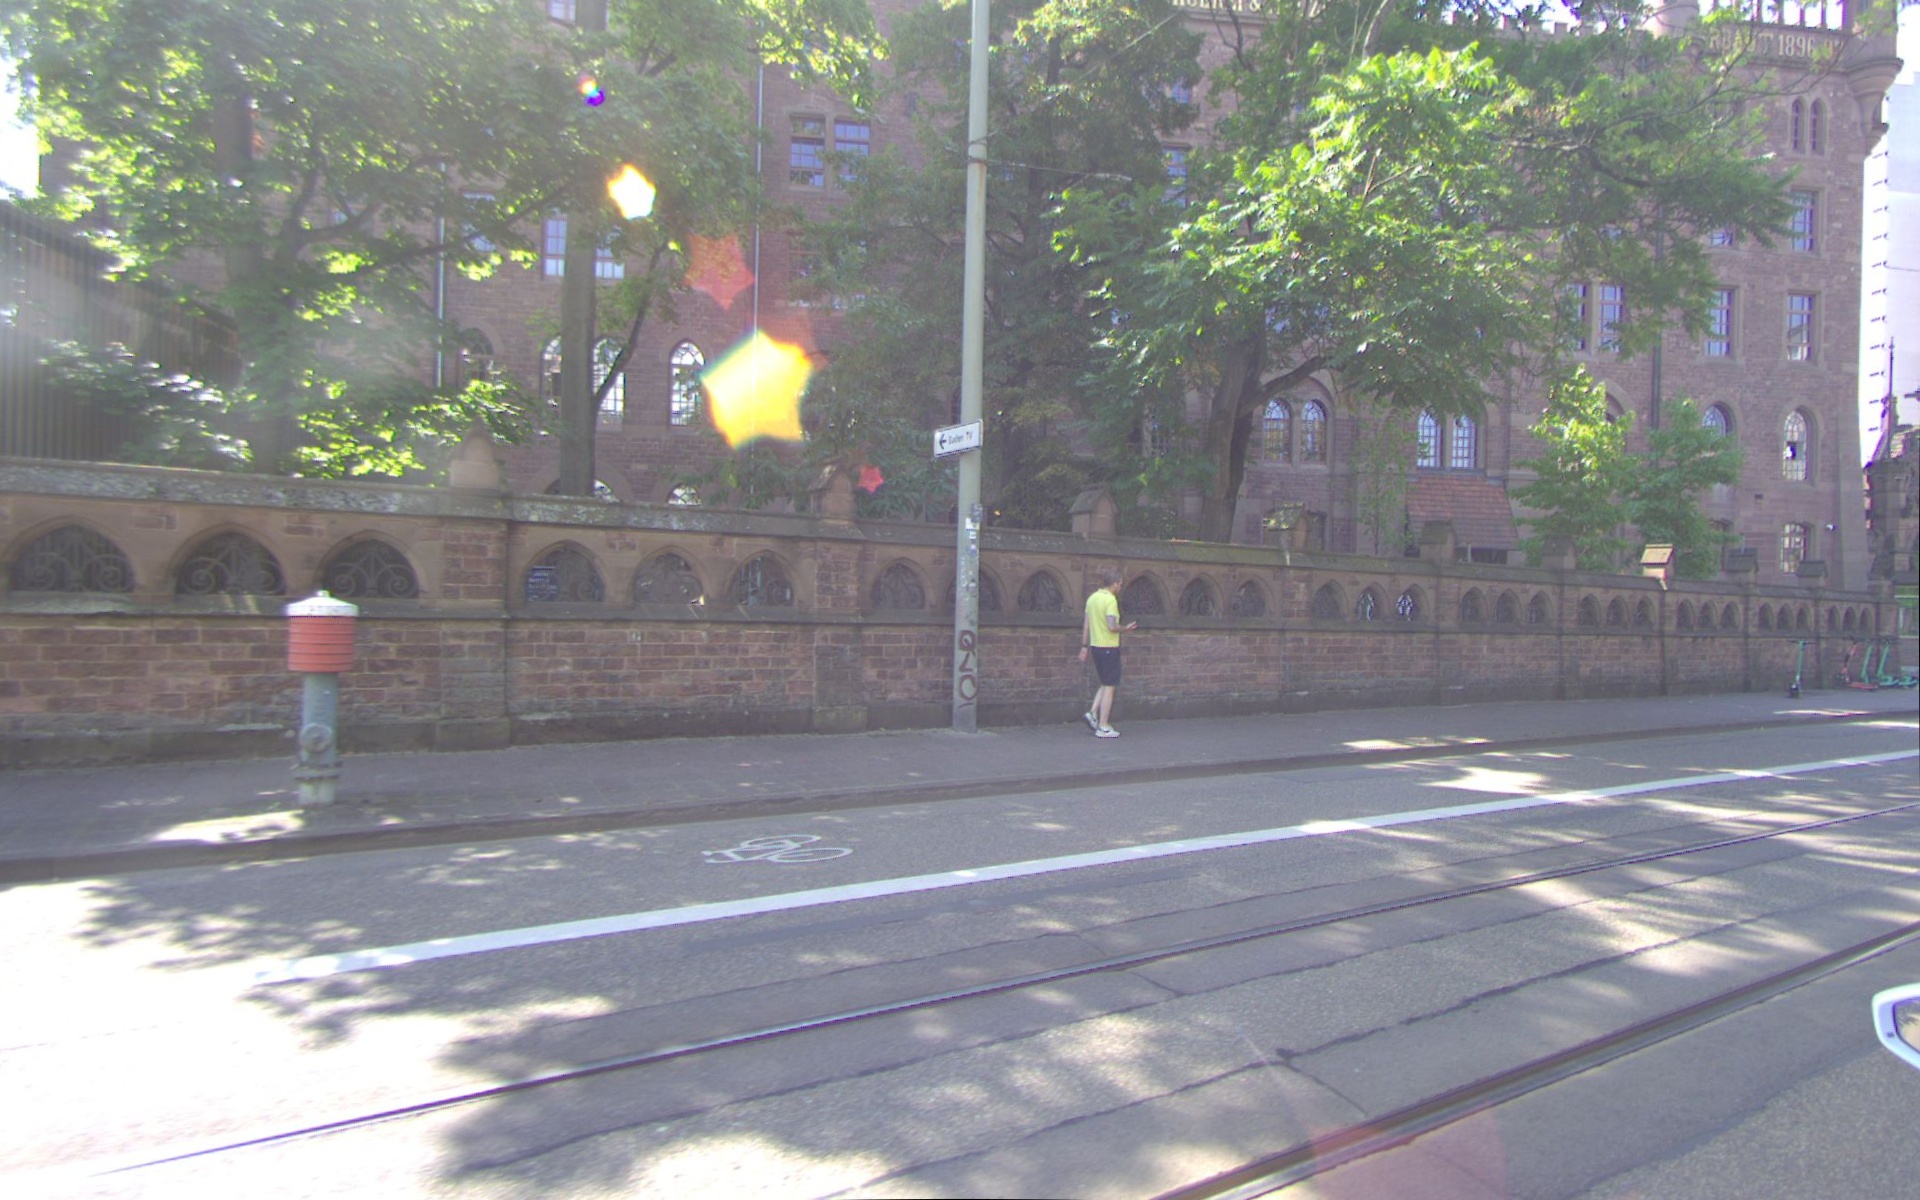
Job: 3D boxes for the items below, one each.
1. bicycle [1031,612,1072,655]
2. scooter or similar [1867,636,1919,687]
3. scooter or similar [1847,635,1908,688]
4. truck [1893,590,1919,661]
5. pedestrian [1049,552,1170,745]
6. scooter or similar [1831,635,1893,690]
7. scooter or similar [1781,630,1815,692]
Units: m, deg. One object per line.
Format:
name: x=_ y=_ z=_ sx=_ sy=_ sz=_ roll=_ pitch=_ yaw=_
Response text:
bicycle: x=2.606 y=0.932 z=28.806 sx=0.883 sy=1.111 sz=2.688 roll=1 pitch=0 yaw=0
scooter or similar: x=22.518 y=1.477 z=24.150 sx=1.155 sy=1.194 sz=0.340 roll=1 pitch=0 yaw=-5
scooter or similar: x=21.545 y=1.449 z=23.595 sx=1.155 sy=1.194 sz=0.340 roll=1 pitch=0 yaw=-5
truck: x=37.230 y=1.112 z=35.142 sx=2.101 sy=2.573 sz=6.301 roll=0 pitch=3 yaw=-24
pedestrian: x=1.664 y=0.518 z=11.203 sx=0.972 sy=2.040 sz=0.859 roll=1 pitch=0 yaw=-32
scooter or similar: x=20.590 y=1.421 z=22.929 sx=1.155 sy=1.194 sz=0.340 roll=1 pitch=0 yaw=-5
scooter or similar: x=17.090 y=1.227 z=20.483 sx=0.416 sy=1.194 sz=1.308 roll=2 pitch=0 yaw=44
